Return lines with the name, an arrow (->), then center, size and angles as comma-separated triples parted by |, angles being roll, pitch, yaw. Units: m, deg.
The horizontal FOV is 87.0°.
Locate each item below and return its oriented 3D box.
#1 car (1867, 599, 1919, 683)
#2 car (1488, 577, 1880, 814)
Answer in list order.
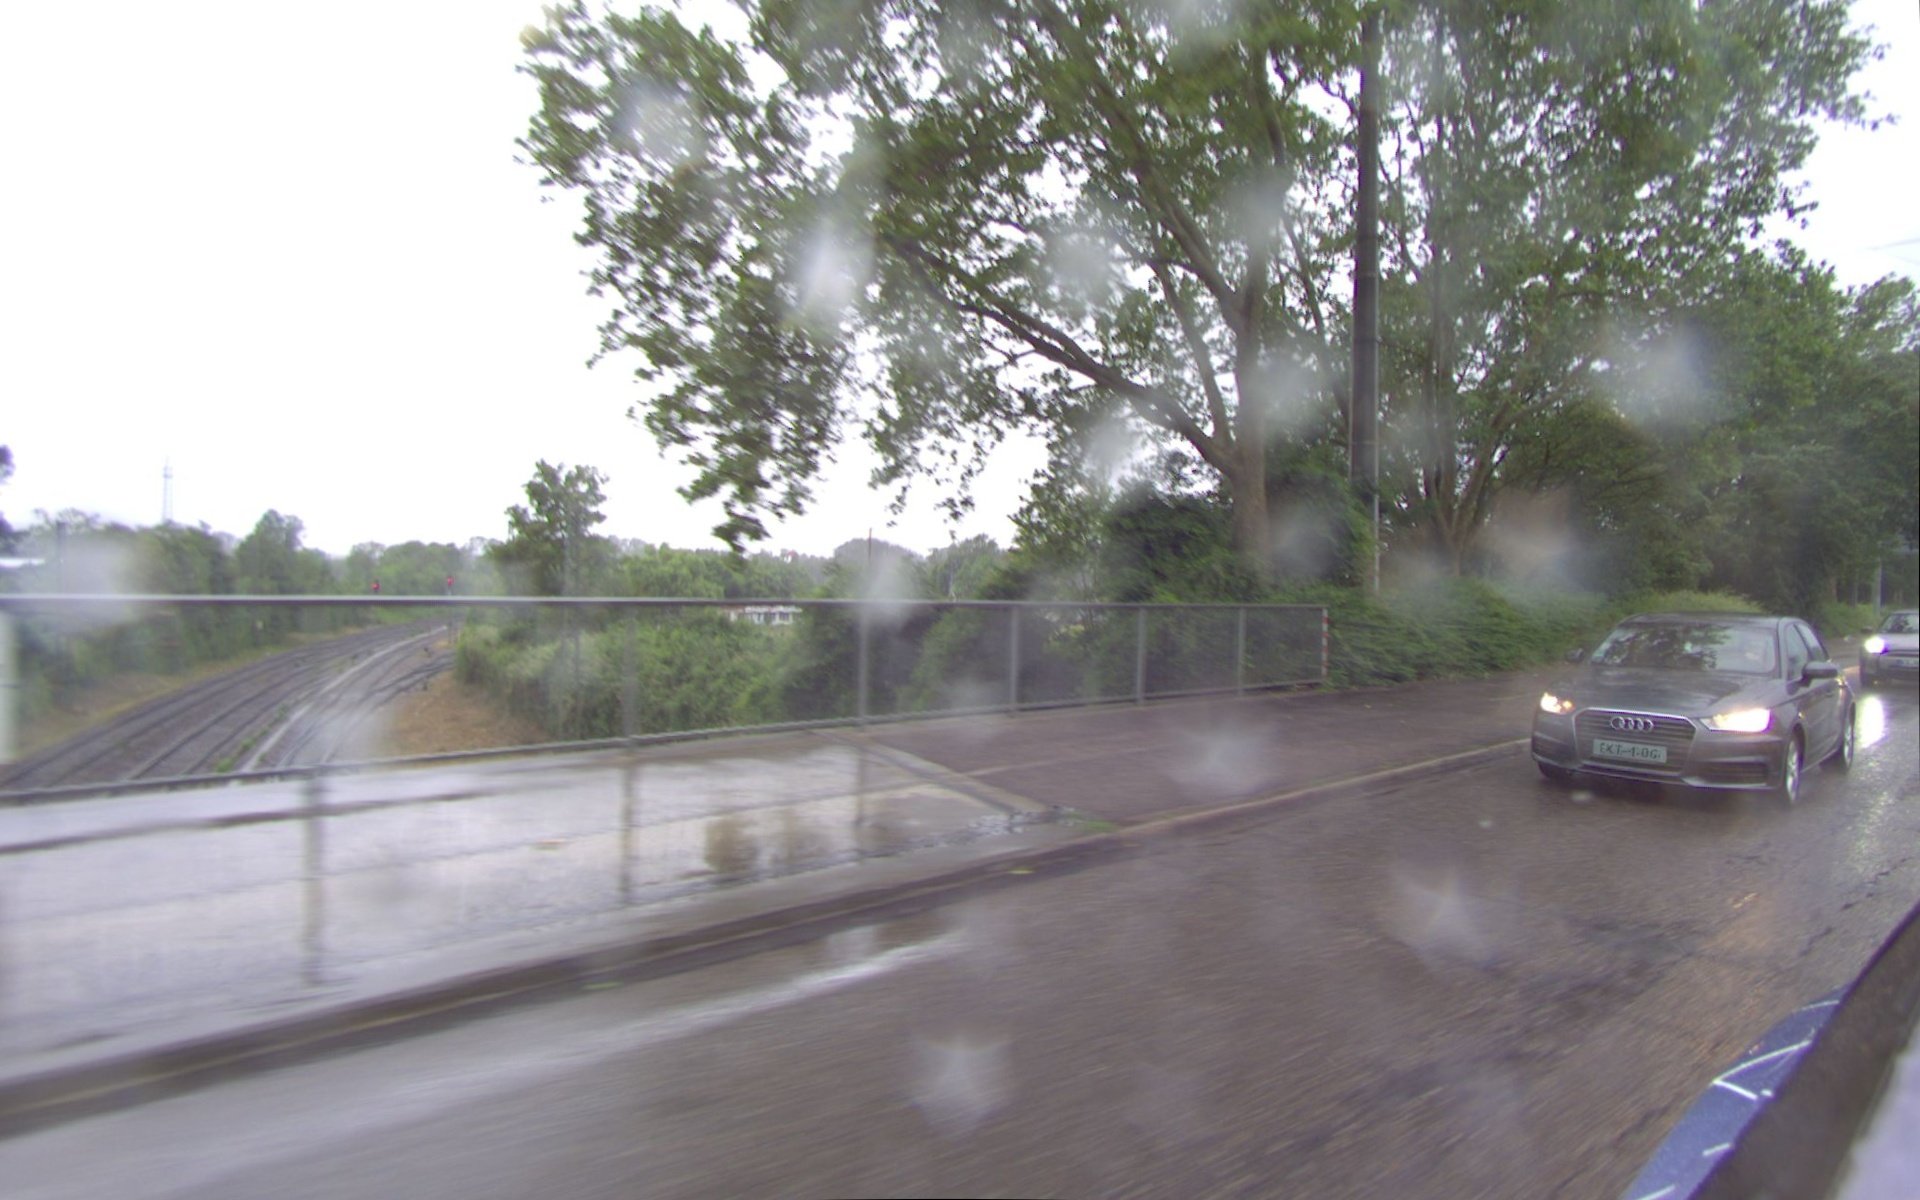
car -> 18.405, 0.729, 18.927 | 3.788, 1.432, 1.793 | -1, 1, -42
car -> 6.321, 0.653, 8.676 | 3.922, 1.548, 1.970 | 1, -1, -42
